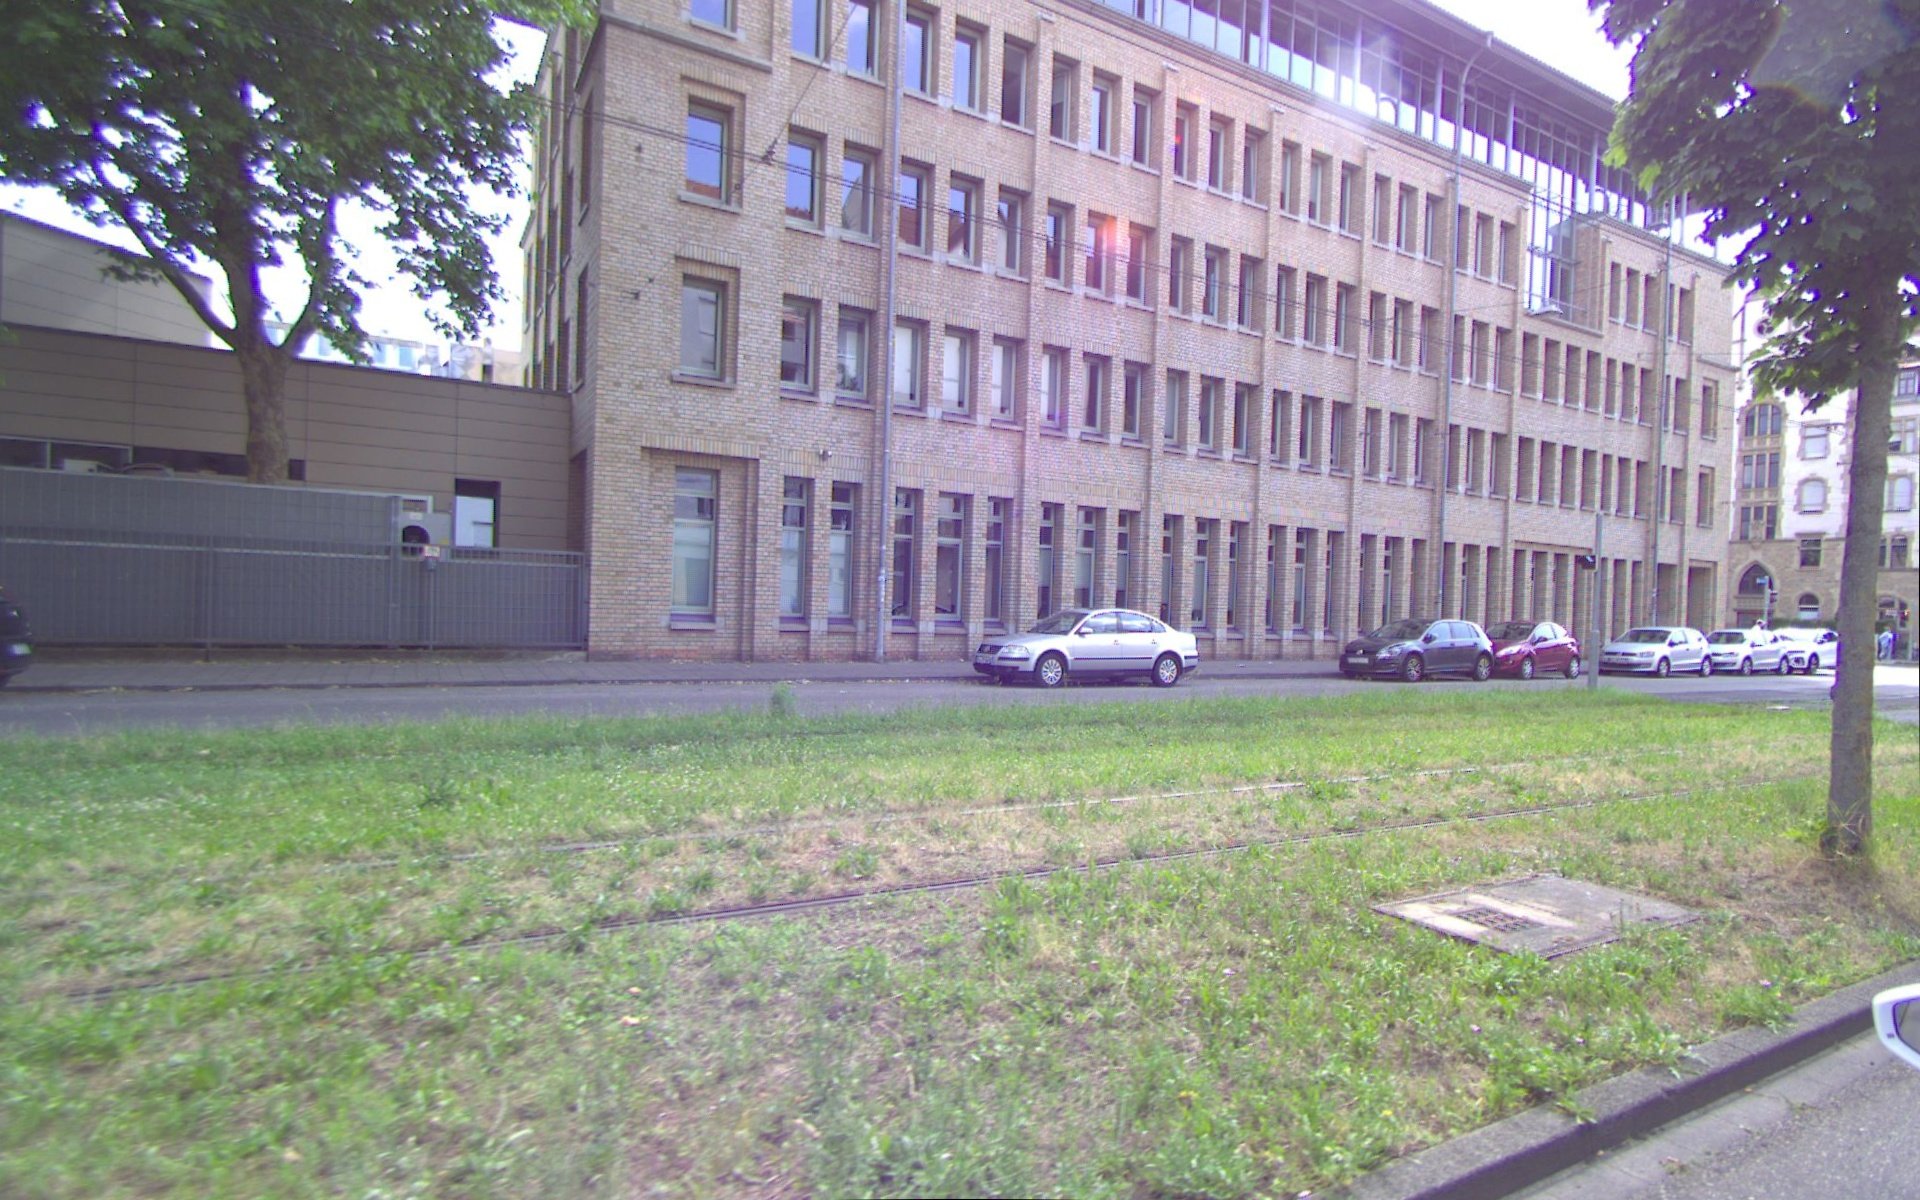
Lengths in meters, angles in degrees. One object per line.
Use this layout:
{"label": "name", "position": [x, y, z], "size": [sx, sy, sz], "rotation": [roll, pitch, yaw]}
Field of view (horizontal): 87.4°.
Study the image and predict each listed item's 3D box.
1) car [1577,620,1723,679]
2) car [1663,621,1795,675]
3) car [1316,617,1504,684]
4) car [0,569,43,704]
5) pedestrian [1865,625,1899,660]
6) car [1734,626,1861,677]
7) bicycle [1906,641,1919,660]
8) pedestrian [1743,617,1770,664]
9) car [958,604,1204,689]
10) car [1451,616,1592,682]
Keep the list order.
{"label": "car", "position": [20.266, 1.447, 29.492], "size": [4.158, 1.551, 1.843], "rotation": [2, 0, -29]}
{"label": "car", "position": [24.681, 1.540, 32.222], "size": [3.965, 1.551, 1.925], "rotation": [2, 0, -29]}
{"label": "car", "position": [10.721, 1.189, 23.883], "size": [4.187, 1.415, 1.925], "rotation": [2, 0, -29]}
{"label": "car", "position": [-12.375, 0.334, 10.334], "size": [3.949, 1.472, 1.796], "rotation": [2, 0, -27]}
{"label": "pedestrian", "position": [48.000, 2.217, 52.284], "size": [1.003, 1.745, 0.776], "rotation": [2, 0, 17]}
{"label": "car", "position": [28.685, 1.759, 34.380], "size": [4.206, 1.555, 1.925], "rotation": [2, 0, -29]}
{"label": "bicycle", "position": [58.262, 3.065, 60.435], "size": [0.772, 1.095, 1.900], "rotation": [2, -1, -39]}
{"label": "pedestrian", "position": [31.757, 1.611, 40.060], "size": [0.750, 1.819, 0.957], "rotation": [2, 0, 35]}
{"label": "car", "position": [2.315, 0.863, 18.922], "size": [4.430, 1.415, 1.708], "rotation": [2, 0, -29]}
{"label": "car", "position": [14.635, 1.269, 26.166], "size": [3.506, 1.551, 1.576], "rotation": [2, 0, -29]}
